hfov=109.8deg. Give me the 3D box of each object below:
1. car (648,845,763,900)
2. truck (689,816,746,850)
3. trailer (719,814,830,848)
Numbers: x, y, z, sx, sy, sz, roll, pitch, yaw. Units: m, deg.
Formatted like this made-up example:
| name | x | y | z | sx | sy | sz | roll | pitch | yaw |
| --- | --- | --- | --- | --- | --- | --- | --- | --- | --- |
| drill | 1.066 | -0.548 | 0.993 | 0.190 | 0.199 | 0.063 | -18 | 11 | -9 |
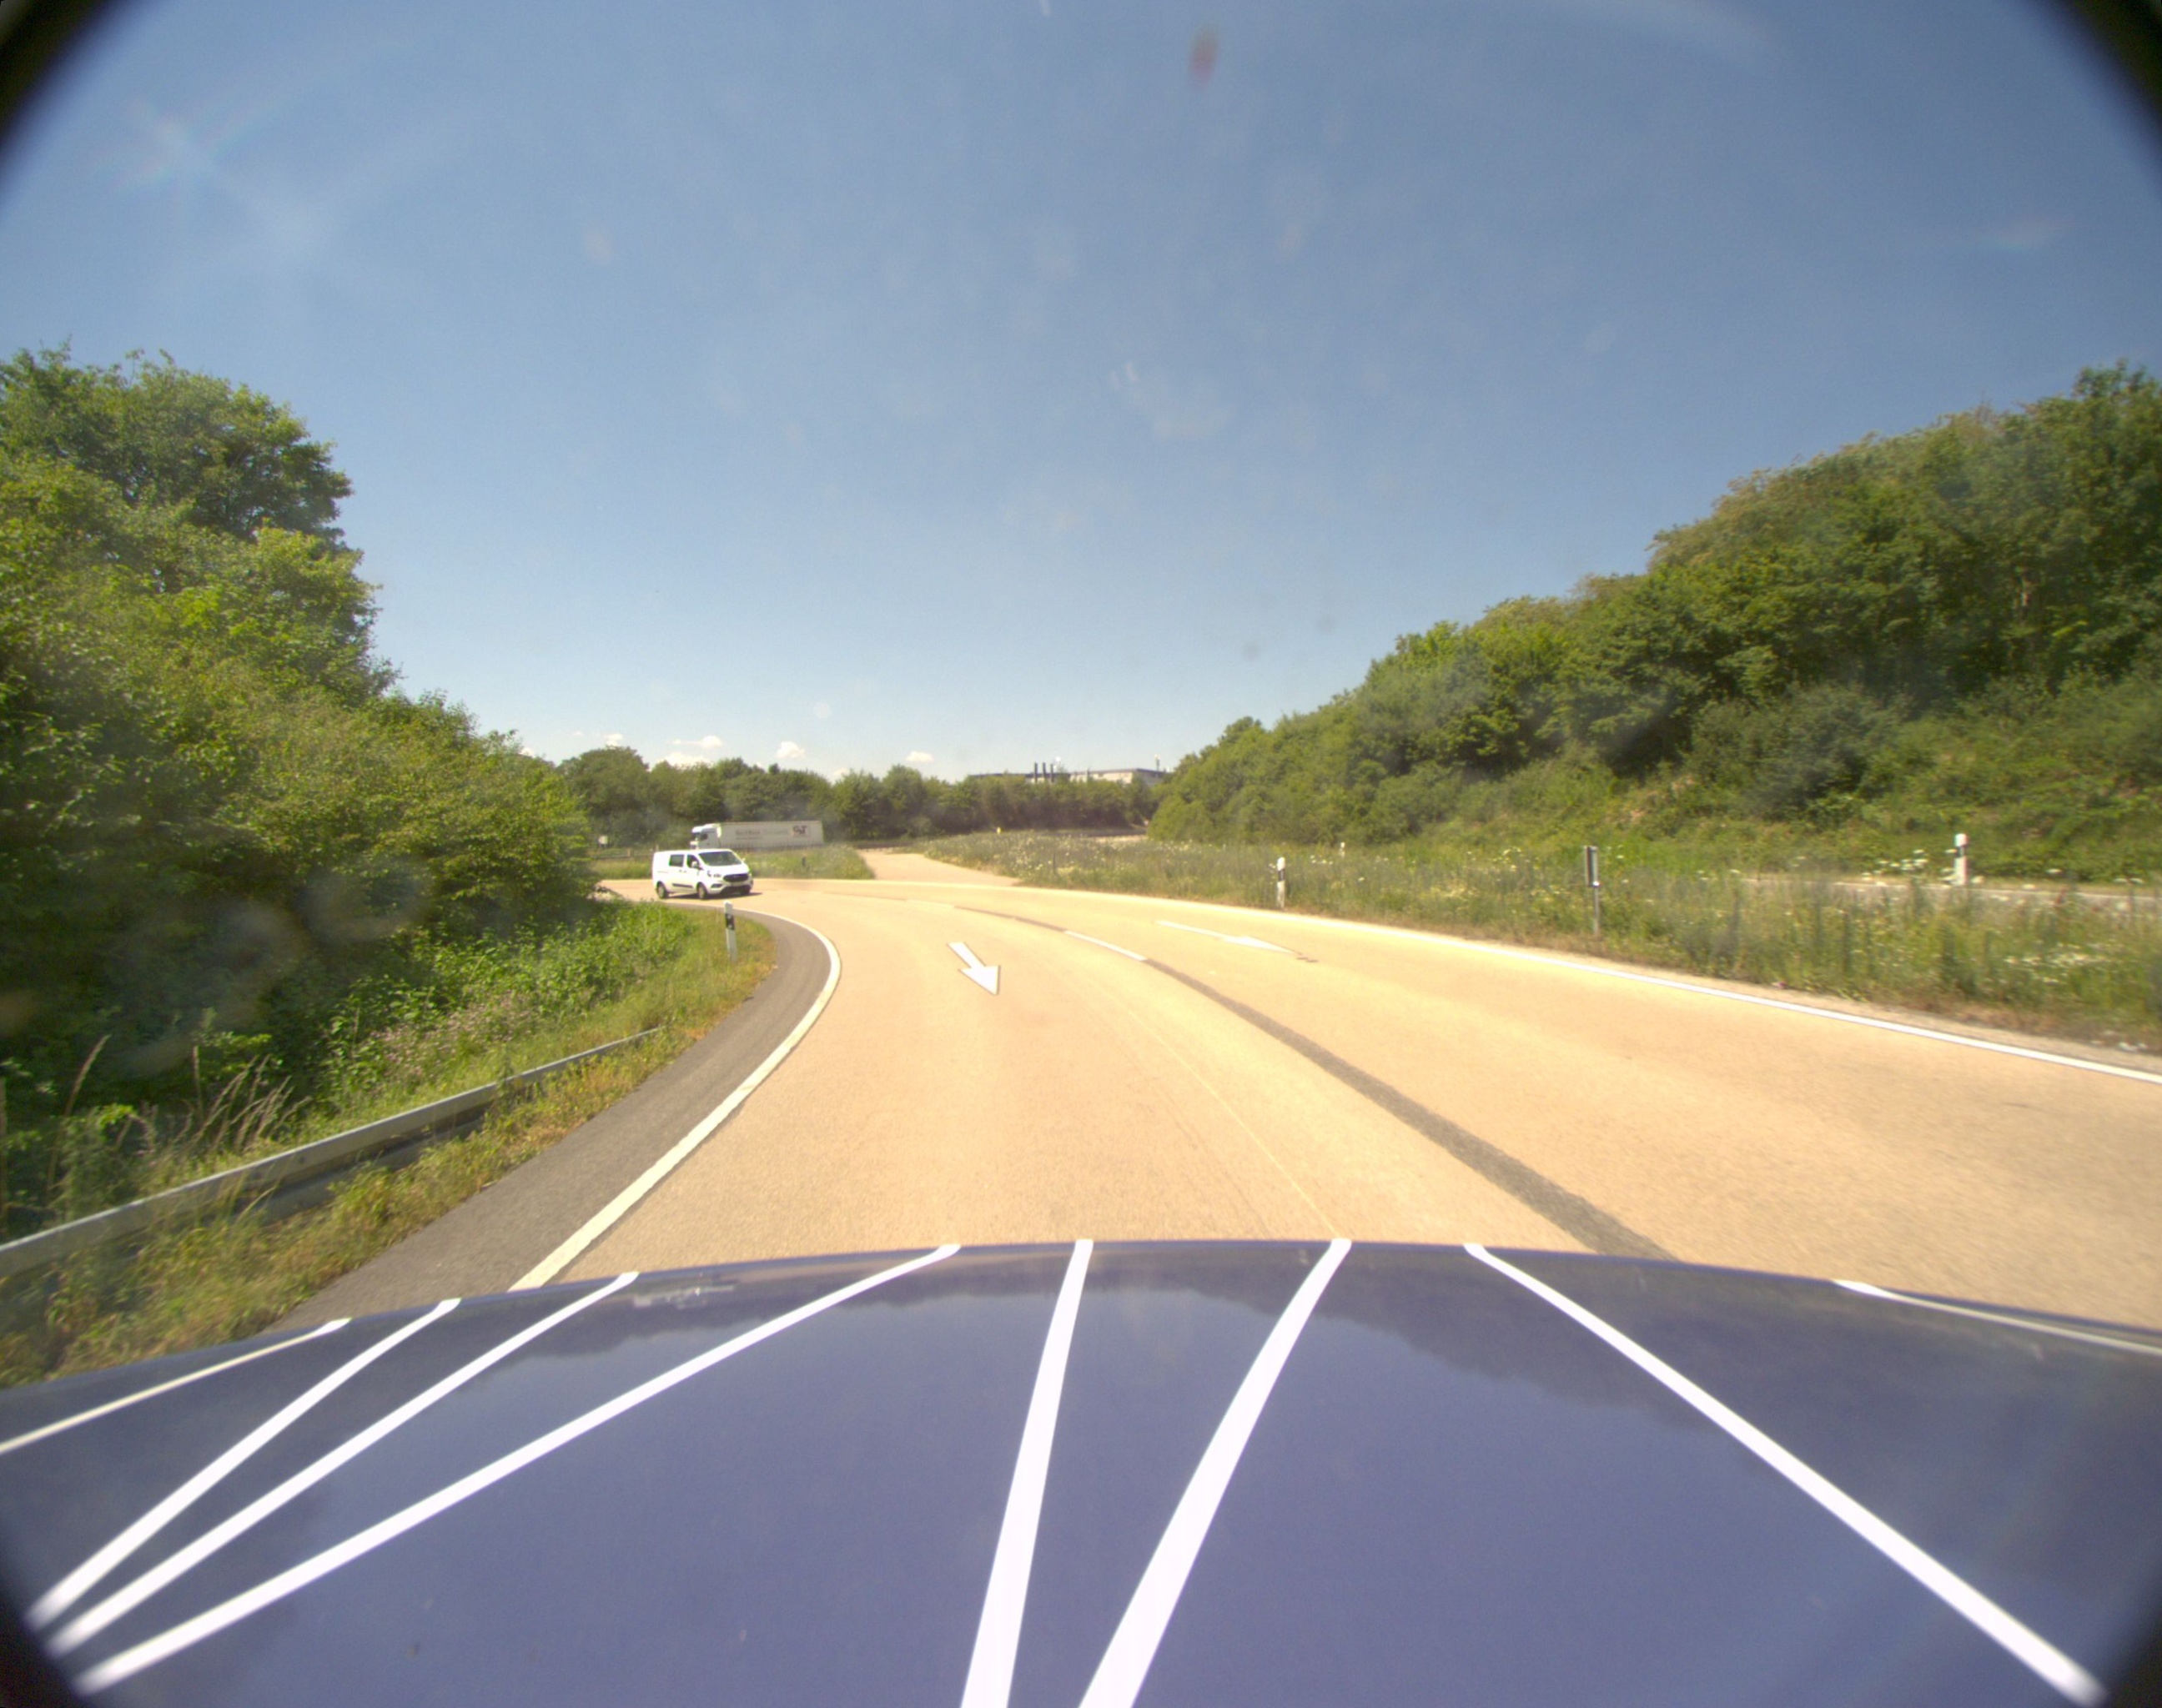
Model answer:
| name | x | y | z | sx | sy | sz | roll | pitch | yaw |
| --- | --- | --- | --- | --- | --- | --- | --- | --- | --- |
| car | -15.709 | 0.753 | 31.705 | 5.027 | 2.003 | 2.067 | -1 | 4 | 36 |
| truck | -45.116 | -2.609 | 94.400 | 2.912 | 3.918 | 5.427 | 0 | 4 | 44 |
| trailer | -39.939 | -3.064 | 99.826 | 2.912 | 3.918 | 13.298 | 0 | 4 | 43 |
